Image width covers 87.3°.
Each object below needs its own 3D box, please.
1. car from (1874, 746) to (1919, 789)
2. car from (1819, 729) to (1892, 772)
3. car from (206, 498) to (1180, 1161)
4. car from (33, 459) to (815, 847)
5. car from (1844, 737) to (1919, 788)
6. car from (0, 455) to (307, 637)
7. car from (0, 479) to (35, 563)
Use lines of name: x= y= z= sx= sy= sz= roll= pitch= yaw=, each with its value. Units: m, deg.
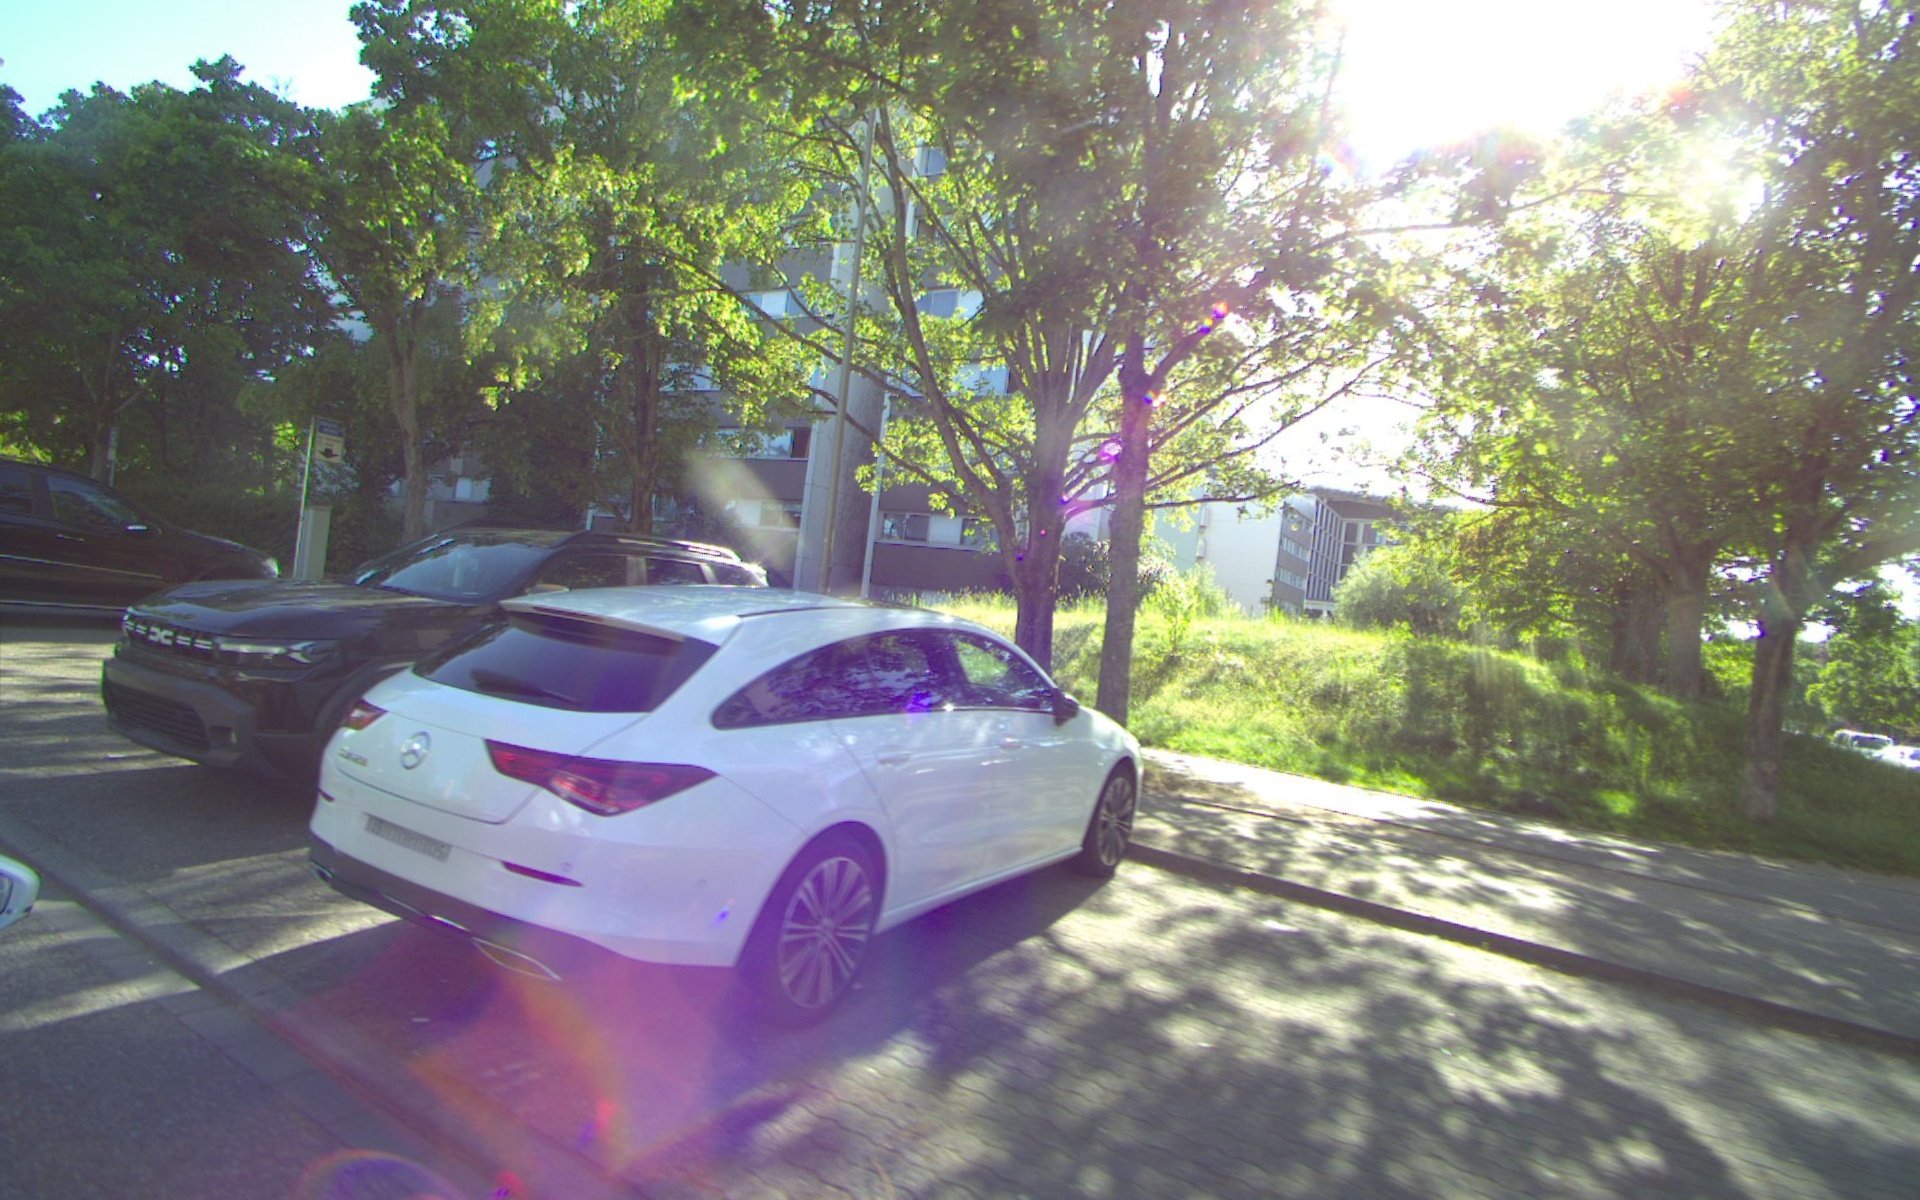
car: x=38.691 y=6.840 z=40.494 sx=1.889 sy=1.463 sz=3.995 roll=7 pitch=-2 yaw=30
car: x=43.502 y=7.291 z=48.955 sx=1.735 sy=1.633 sz=3.996 roll=7 pitch=-2 yaw=30
car: x=-0.583 y=0.728 z=4.862 sx=1.787 sy=1.563 sz=4.451 roll=7 pitch=-2 yaw=31
car: x=-2.950 y=0.273 z=6.518 sx=1.704 sy=1.638 sz=4.123 roll=6 pitch=0 yaw=29
car: x=41.642 y=7.274 z=45.149 sx=1.966 sy=1.820 sz=4.446 roll=7 pitch=-2 yaw=30
car: x=-10.378 y=-0.644 z=11.320 sx=1.967 sy=1.801 sz=4.590 roll=7 pitch=1 yaw=32
car: x=-17.899 y=-1.494 z=16.260 sx=1.792 sy=1.405 sz=3.988 roll=7 pitch=2 yaw=31
